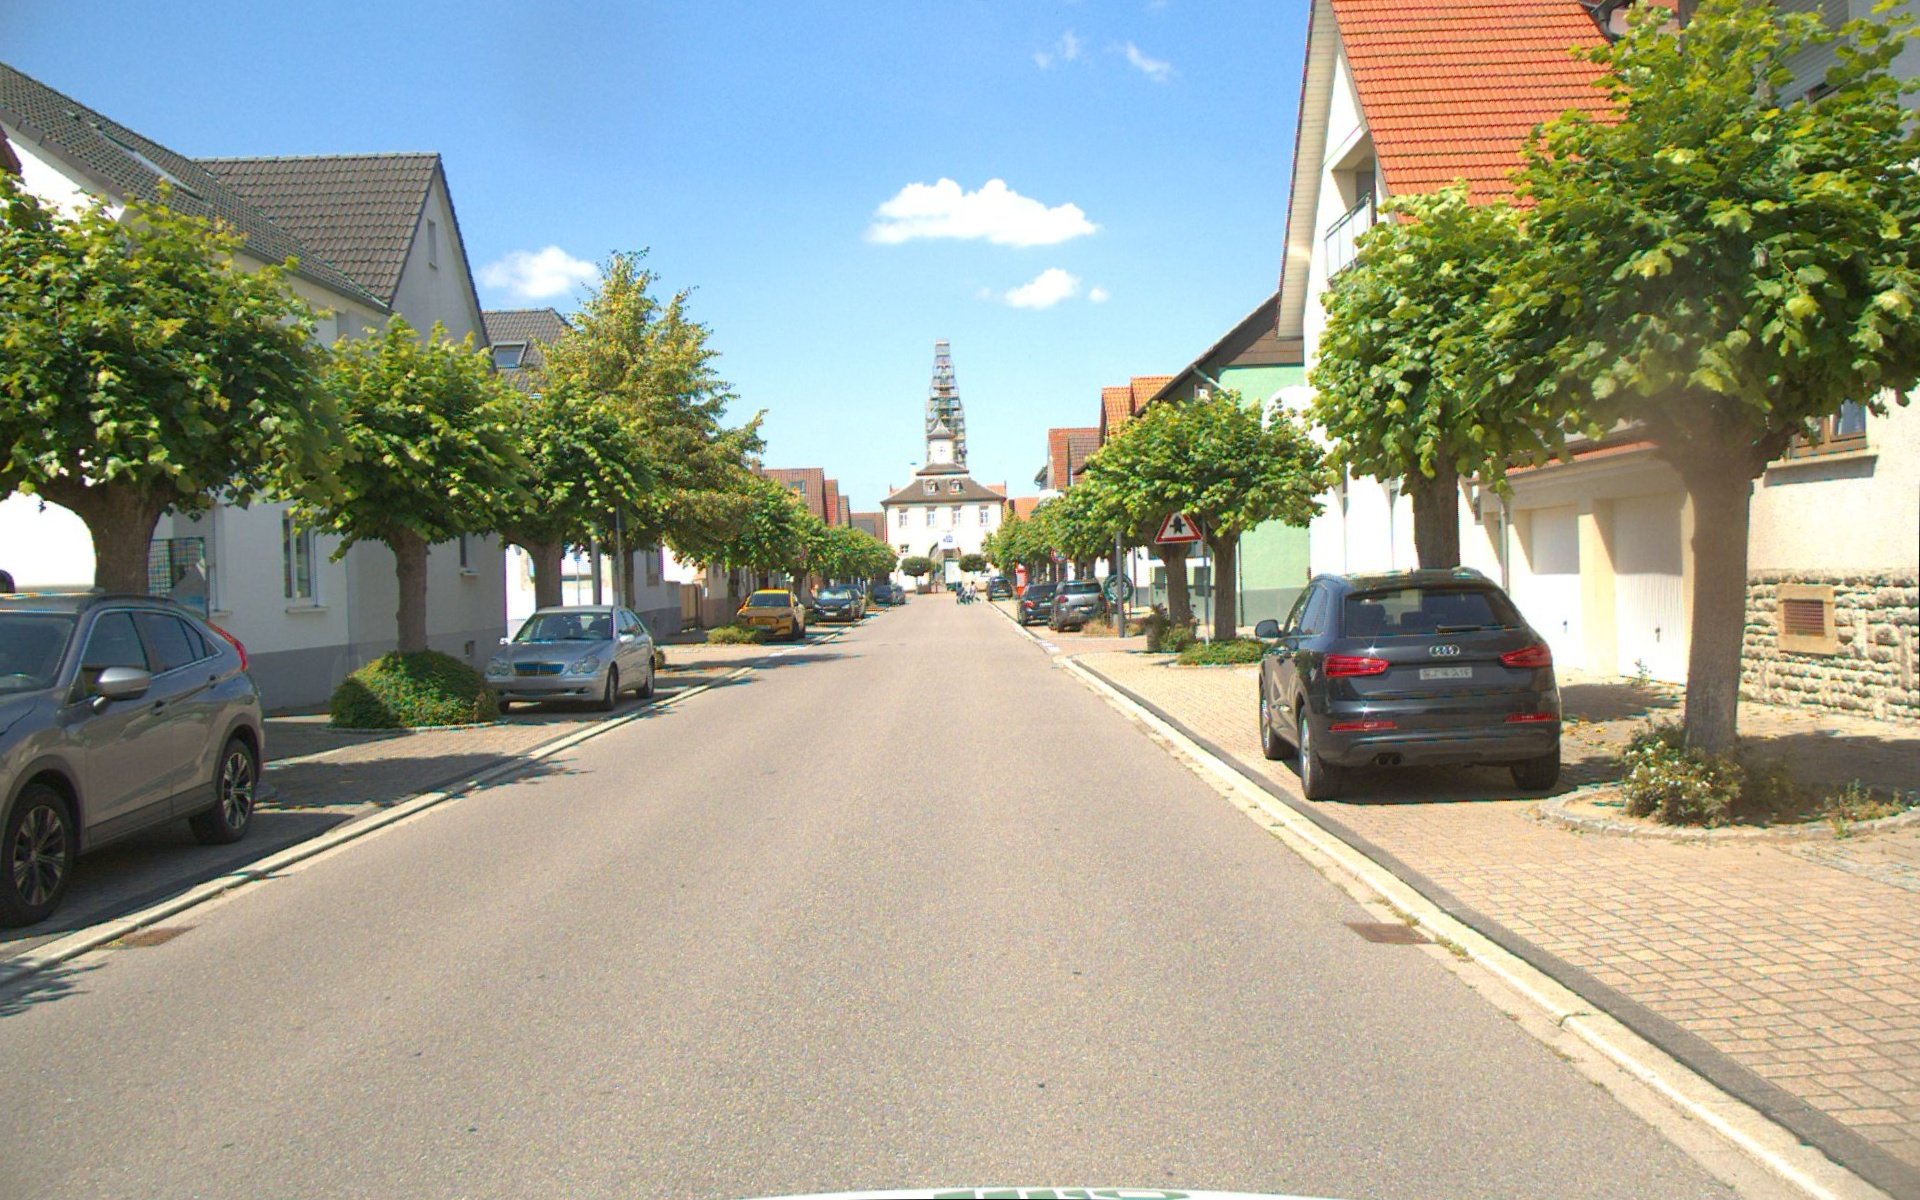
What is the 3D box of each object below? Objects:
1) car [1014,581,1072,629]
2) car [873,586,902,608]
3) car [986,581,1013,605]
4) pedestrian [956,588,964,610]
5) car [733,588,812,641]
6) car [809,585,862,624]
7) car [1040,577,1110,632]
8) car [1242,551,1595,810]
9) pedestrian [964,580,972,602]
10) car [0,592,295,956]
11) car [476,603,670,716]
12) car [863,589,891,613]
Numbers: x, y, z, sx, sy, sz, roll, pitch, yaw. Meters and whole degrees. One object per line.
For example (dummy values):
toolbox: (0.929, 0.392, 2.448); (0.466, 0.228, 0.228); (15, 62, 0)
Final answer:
car: (3.006, 0.149, 60.934); (1.800, 1.582, 4.313); (-4, 0, -1)
car: (-5.434, -0.227, 123.845); (1.952, 1.639, 3.855); (0, 0, 1)
car: (2.933, -0.533, 123.753); (1.800, 1.582, 4.314); (-4, 0, 0)
pedestrian: (0.008, -0.062, 110.349); (0.352, 1.427, 0.319); (-2, 0, 37)
car: (-6.045, 0.430, 53.831); (1.952, 1.639, 4.689); (0, 0, 1)
car: (-5.584, 0.161, 74.921); (1.952, 1.639, 4.690); (-1, 1, 1)
car: (3.659, 0.131, 53.189); (1.800, 1.635, 3.999); (-2, 0, -2)
car: (3.376, 0.503, 12.979); (1.786, 1.613, 4.059); (-3, 1, 4)
pedestrian: (0.525, -0.589, 109.387); (0.352, 1.427, 0.319); (-2, 0, 37)
car: (-5.553, 0.811, 9.445); (1.954, 1.681, 4.364); (-1, 0, -4)
car: (-5.499, 0.789, 24.048); (1.803, 1.420, 4.406); (-1, 0, -1)
car: (-5.903, 0.077, 118.099); (1.721, 1.582, 4.020); (-2, 0, 0)
